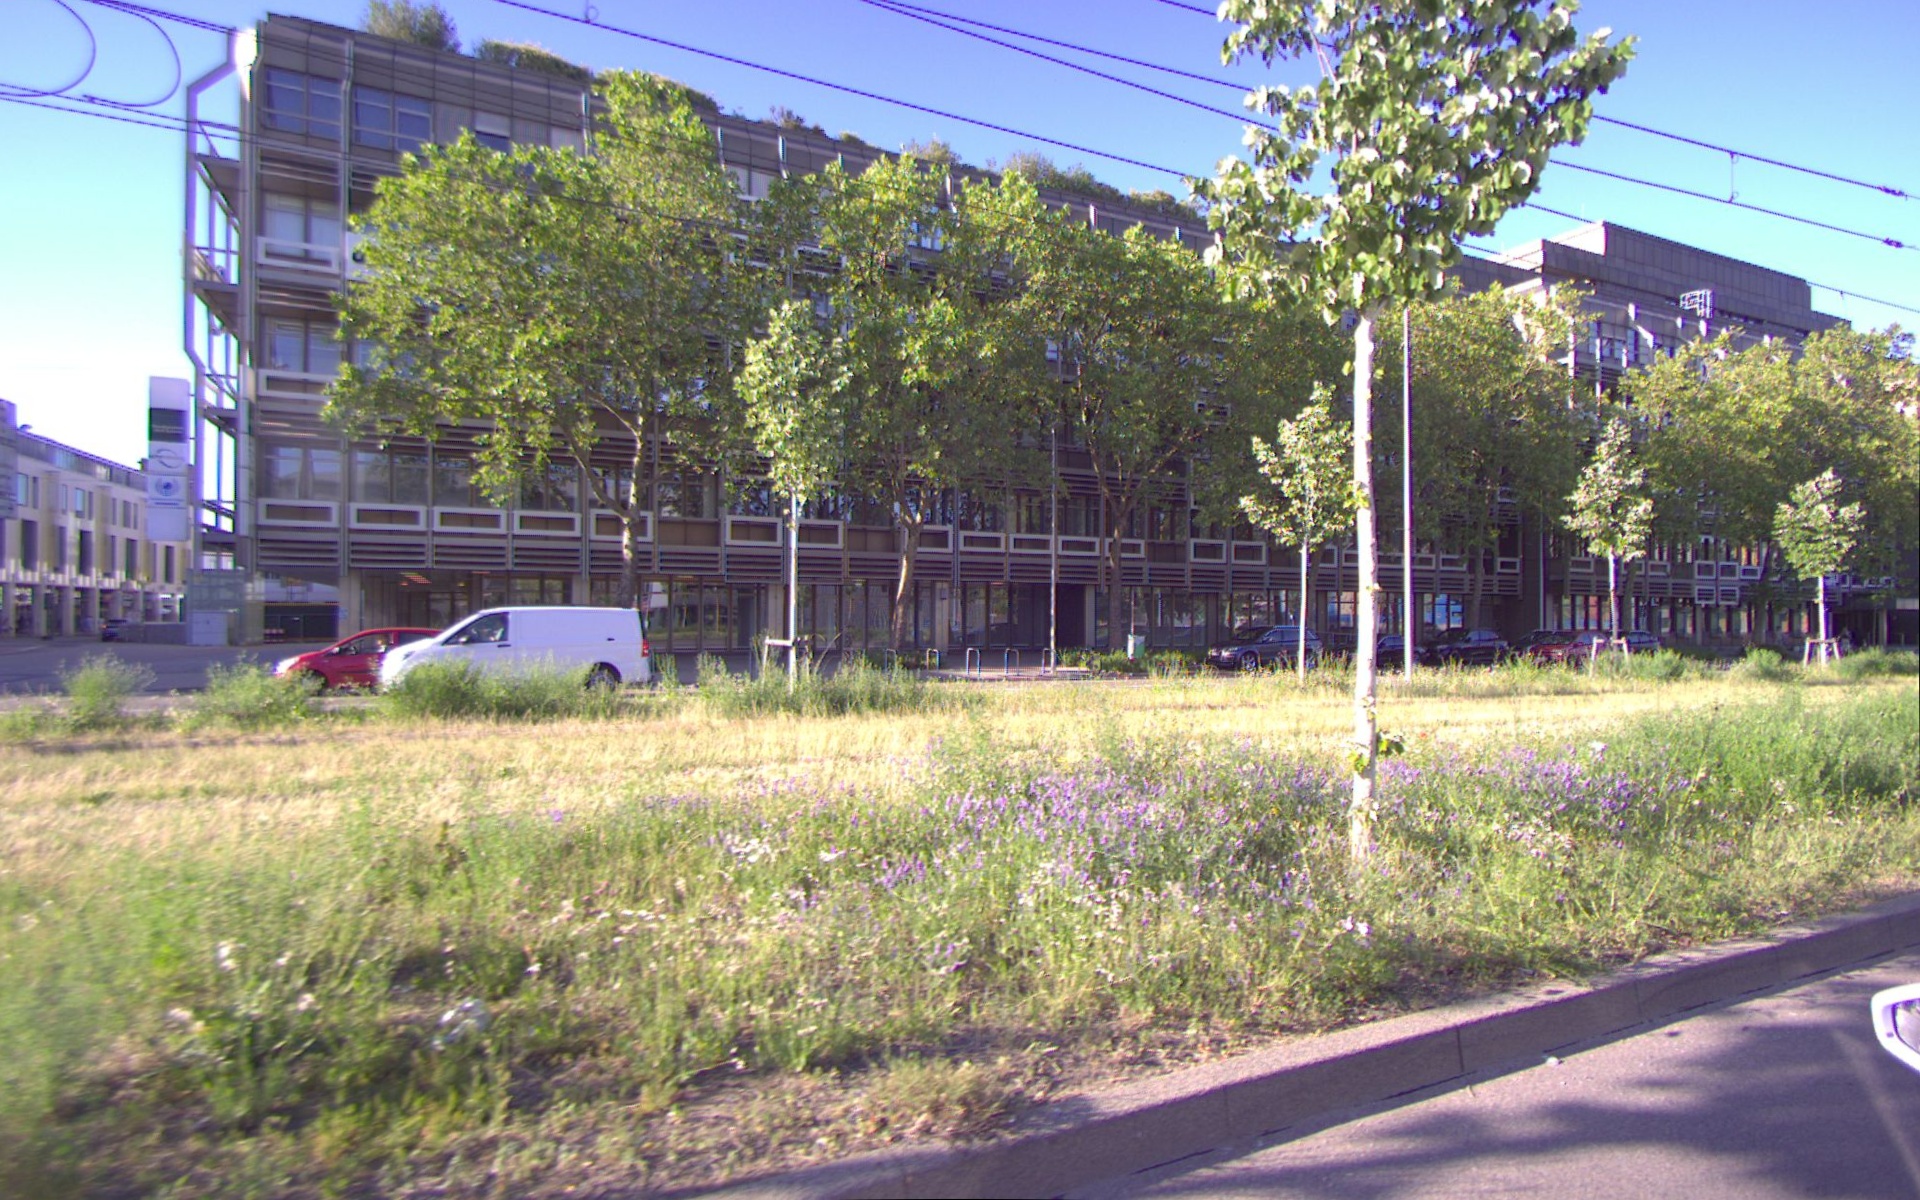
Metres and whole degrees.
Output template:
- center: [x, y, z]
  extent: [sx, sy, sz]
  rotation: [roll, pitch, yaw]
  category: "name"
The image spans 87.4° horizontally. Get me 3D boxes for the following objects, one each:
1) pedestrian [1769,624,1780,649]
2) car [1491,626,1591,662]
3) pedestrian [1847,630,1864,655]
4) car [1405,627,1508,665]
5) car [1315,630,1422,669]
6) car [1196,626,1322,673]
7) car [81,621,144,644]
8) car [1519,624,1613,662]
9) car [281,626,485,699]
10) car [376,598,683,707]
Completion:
- center: [51.949, 2.330, 64.041]
  extent: [0.441, 1.582, 0.407]
  rotation: [1, -1, -25]
  category: "pedestrian"
- center: [27.539, 2.089, 47.605]
  extent: [4.301, 1.653, 1.906]
  rotation: [1, -3, -24]
  category: "car"
- center: [56.524, 2.657, 63.375]
  extent: [0.643, 1.552, 0.659]
  rotation: [1, -1, -36]
  category: "pedestrian"
- center: [22.057, 2.004, 44.603]
  extent: [4.564, 1.578, 1.737]
  rotation: [1, 0, -28]
  category: "car"
- center: [17.119, 2.058, 42.095]
  extent: [3.943, 1.541, 1.989]
  rotation: [1, -1, -23]
  category: "car"
- center: [11.831, 1.937, 39.670]
  extent: [4.809, 1.702, 1.985]
  rotation: [1, 0, -29]
  category: "car"
- center: [-54.975, 2.107, 65.267]
  extent: [1.915, 1.469, 4.239]
  rotation: [1, -2, -23]
  category: "car"
- center: [24.310, 1.737, 40.259]
  extent: [3.533, 1.472, 1.703]
  rotation: [1, -4, -30]
  category: "car"
- center: [-12.844, 1.384, 22.659]
  extent: [3.828, 1.505, 1.835]
  rotation: [0, -4, -25]
  category: "car"
- center: [-8.899, 1.089, 21.142]
  extent: [5.632, 2.040, 2.253]
  rotation: [1, -3, -25]
  category: "car"
